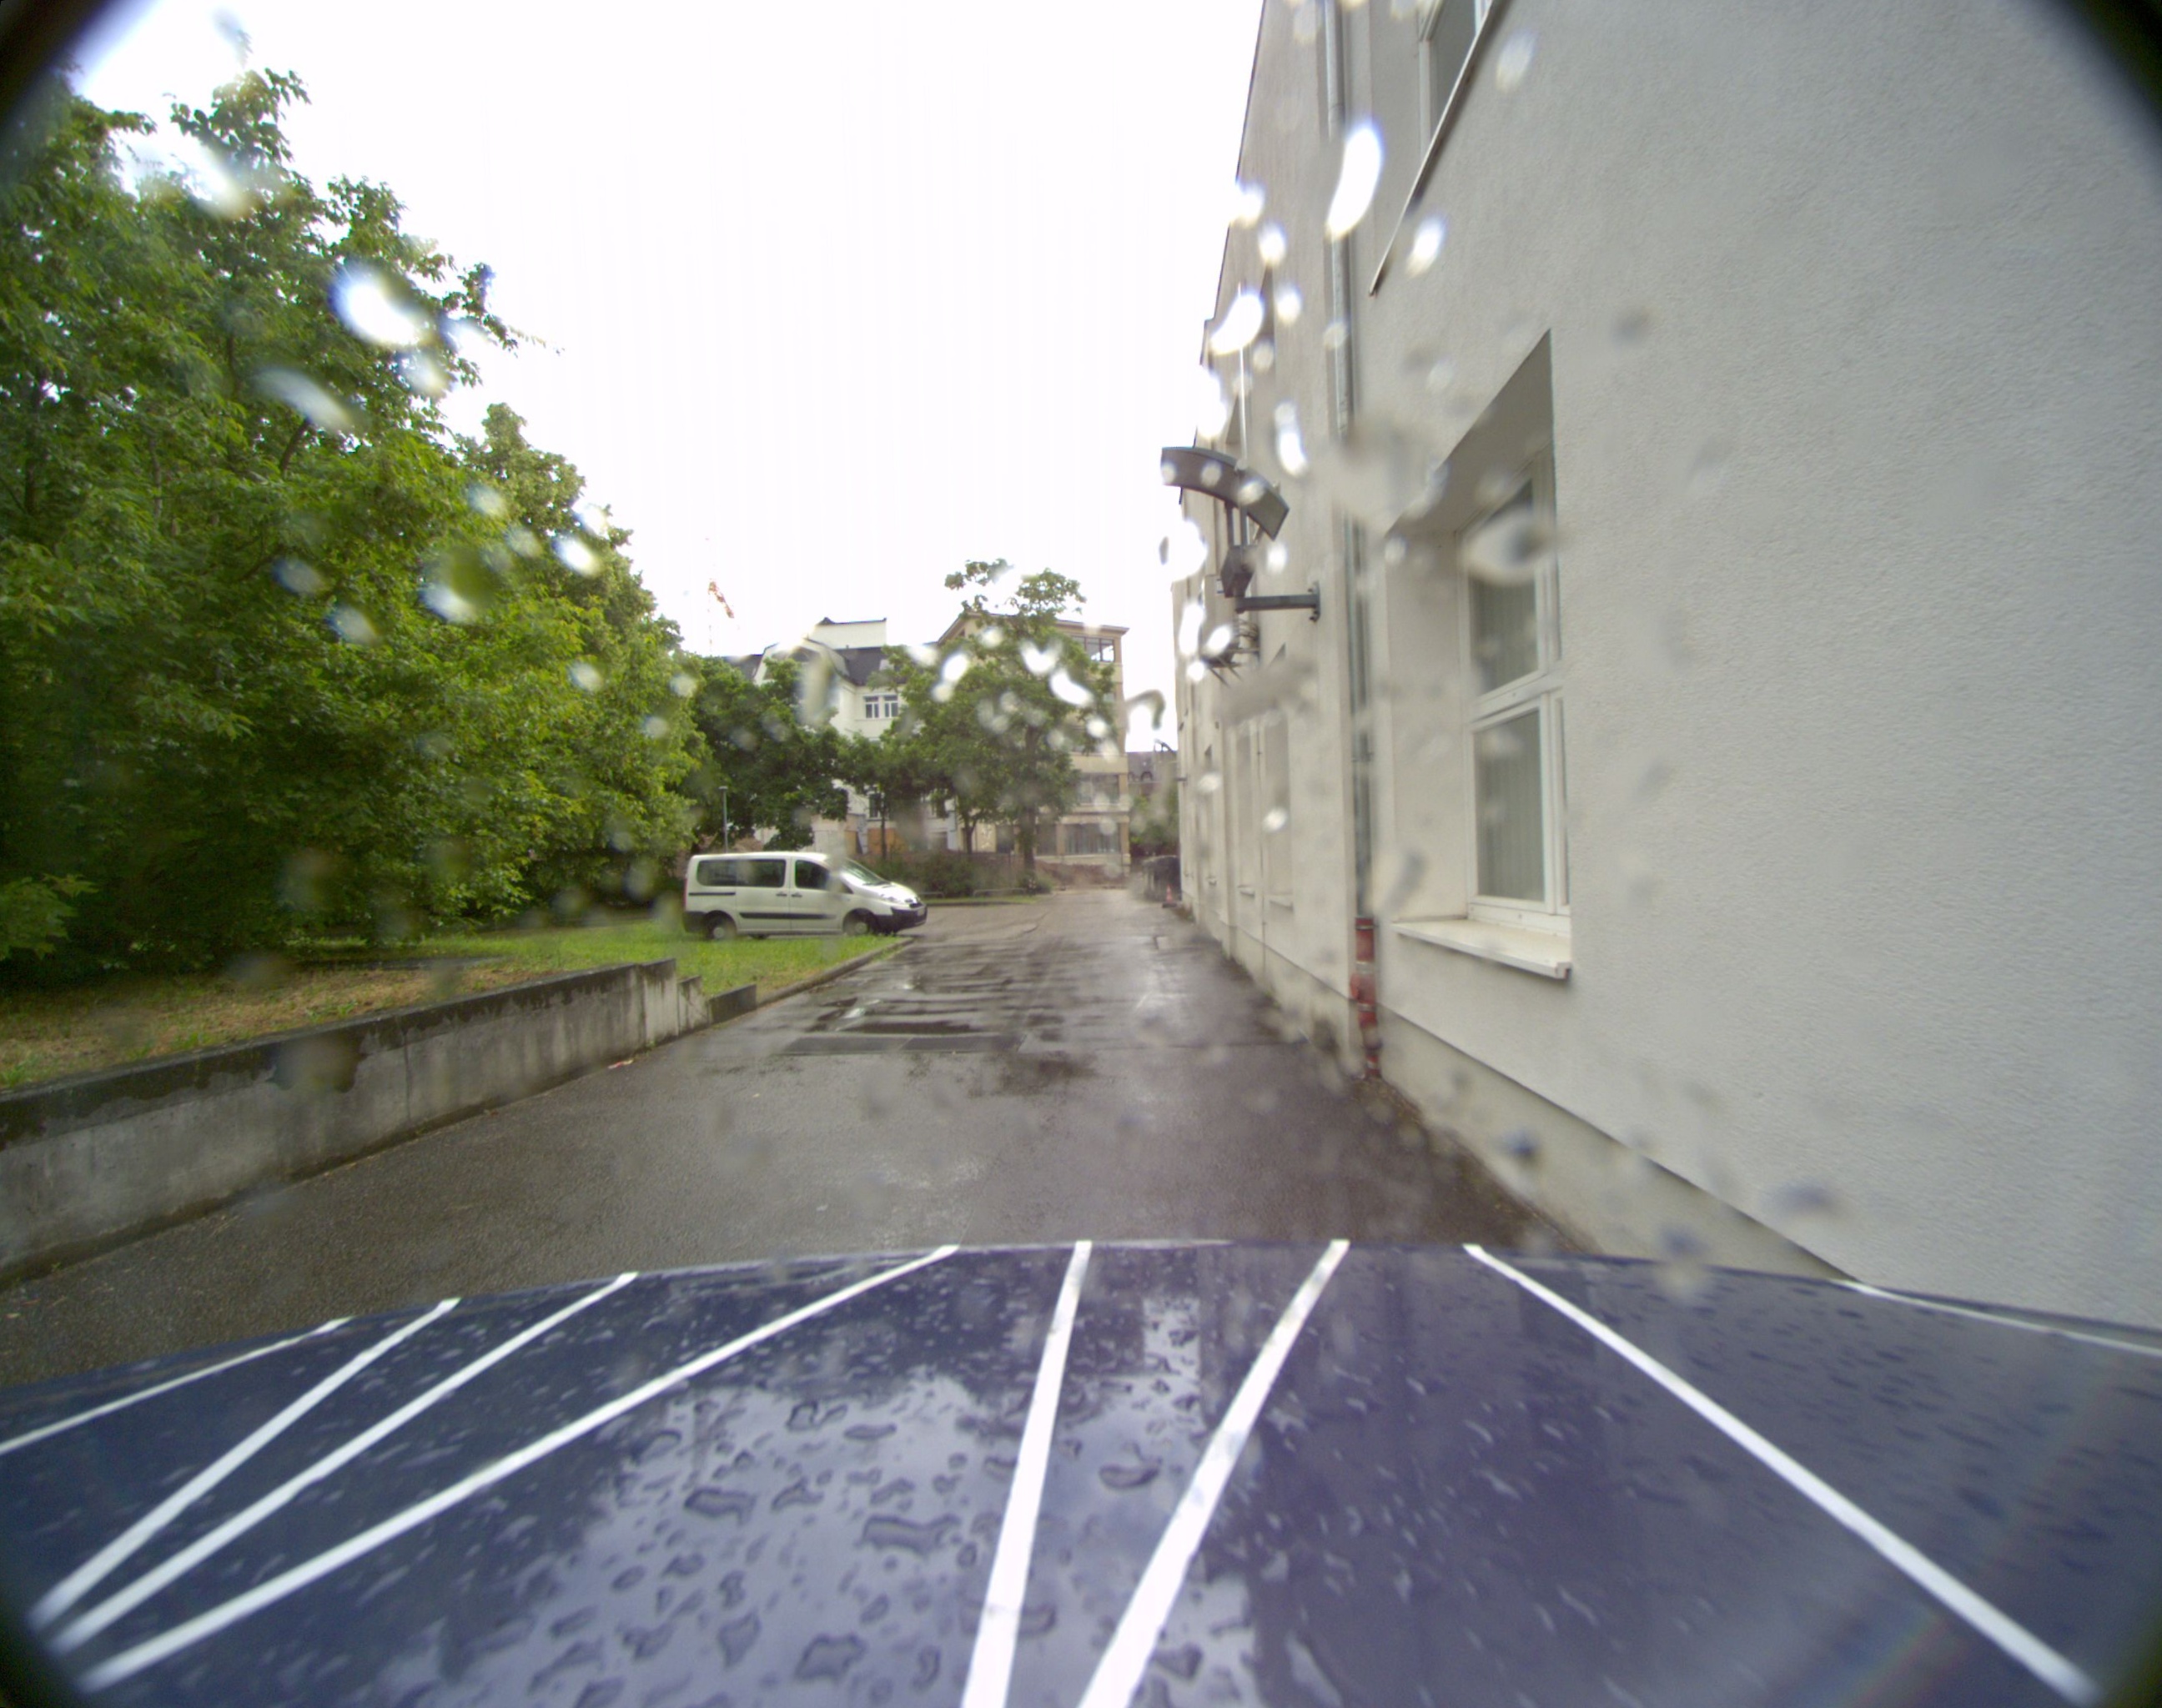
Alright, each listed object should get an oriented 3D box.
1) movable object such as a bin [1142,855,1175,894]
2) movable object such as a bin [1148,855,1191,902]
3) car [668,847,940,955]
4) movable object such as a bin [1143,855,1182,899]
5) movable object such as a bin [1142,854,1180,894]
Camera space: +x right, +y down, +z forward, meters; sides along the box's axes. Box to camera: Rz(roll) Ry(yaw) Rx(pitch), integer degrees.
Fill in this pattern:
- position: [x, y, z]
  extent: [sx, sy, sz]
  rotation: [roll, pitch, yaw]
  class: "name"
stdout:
- position: [3.173, 0.812, 30.945]
  extent: [1.103, 1.464, 1.487]
  rotation: [-3, 0, 14]
  class: "movable object such as a bin"
- position: [2.876, 0.787, 24.887]
  extent: [1.167, 1.474, 1.594]
  rotation: [-1, 1, -2]
  class: "movable object such as a bin"
- position: [-5.742, 0.941, 16.149]
  extent: [4.884, 1.915, 2.100]
  rotation: [-3, 1, 5]
  class: "car"
- position: [2.824, 0.767, 26.516]
  extent: [1.167, 1.474, 1.496]
  rotation: [-1, 1, -2]
  class: "movable object such as a bin"
- position: [3.076, 0.789, 29.406]
  extent: [1.167, 1.474, 1.403]
  rotation: [-3, -1, -3]
  class: "movable object such as a bin"
